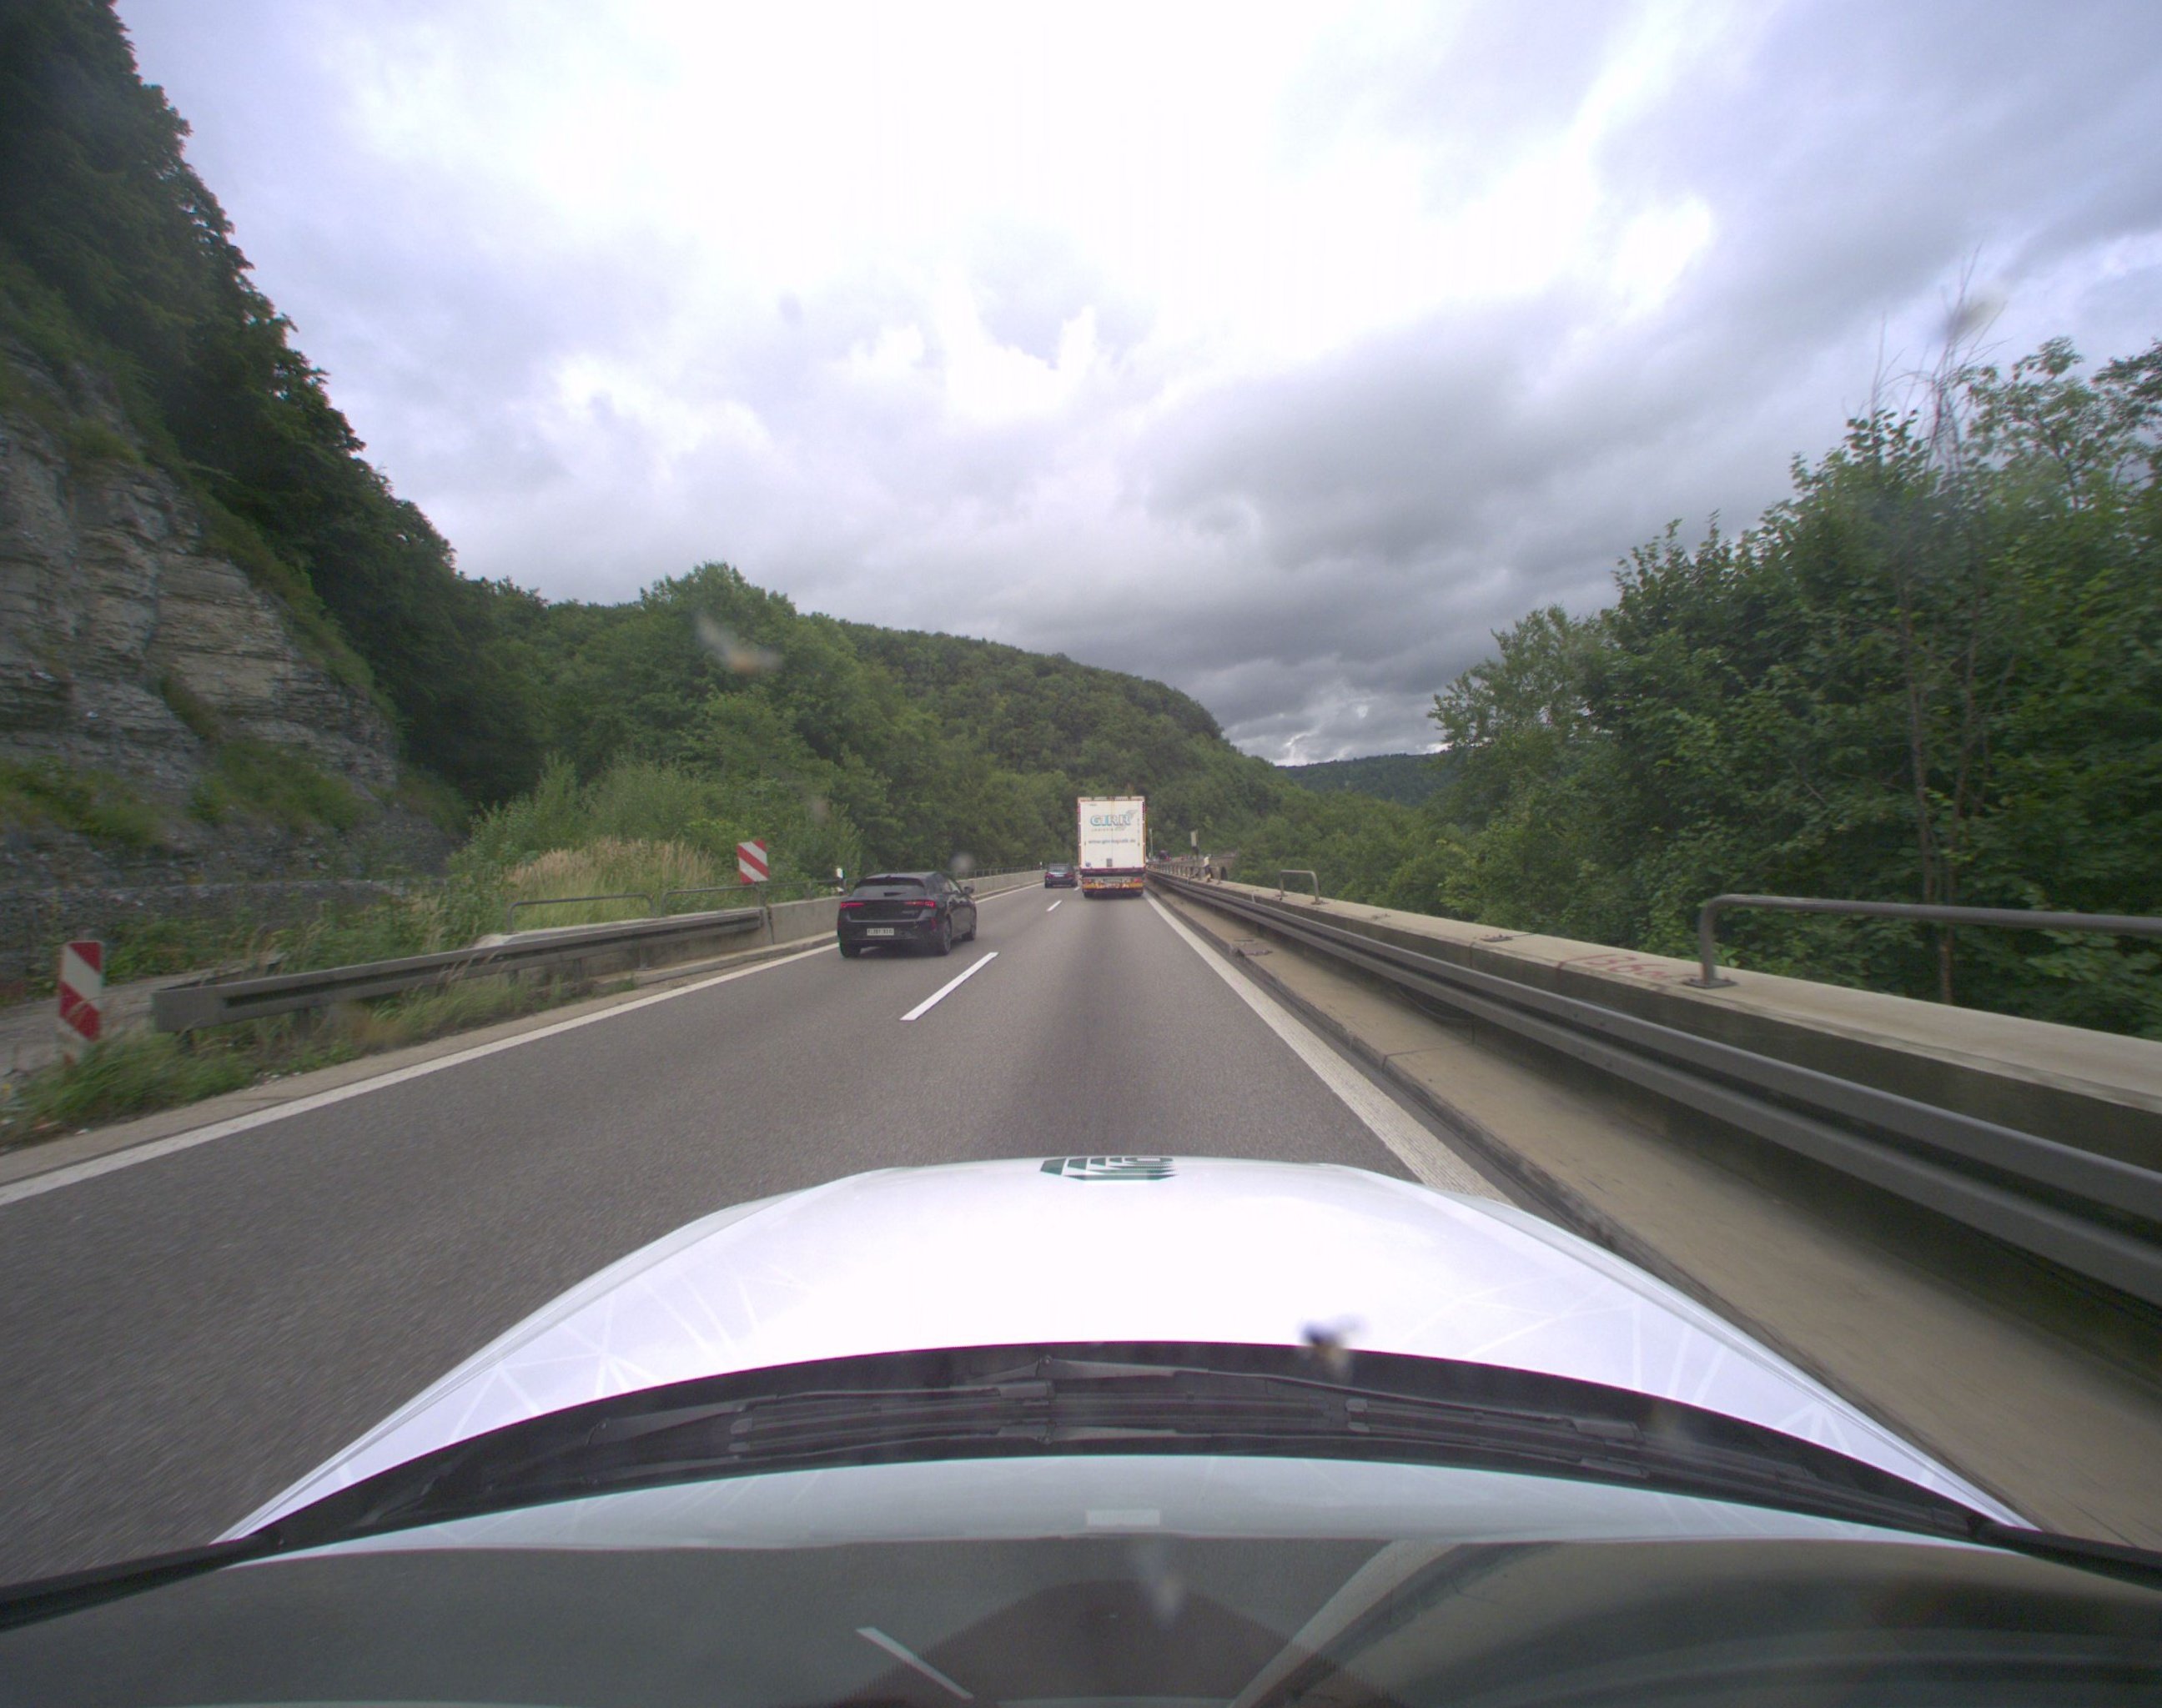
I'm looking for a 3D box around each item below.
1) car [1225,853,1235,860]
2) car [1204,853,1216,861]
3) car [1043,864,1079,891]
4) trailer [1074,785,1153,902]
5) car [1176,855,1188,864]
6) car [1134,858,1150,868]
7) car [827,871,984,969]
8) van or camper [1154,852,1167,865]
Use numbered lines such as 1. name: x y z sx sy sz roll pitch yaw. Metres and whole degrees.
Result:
1. car: 41.529 0.673 227.481 1.976 1.794 4.021 -2 -2 21
2. car: 31.567 0.689 199.191 1.976 1.794 4.020 -2 -2 21
3. car: -1.169 1.394 49.893 1.876 1.510 4.421 -2 -1 2
4. trailer: 1.421 -0.292 36.977 2.803 4.302 12.248 -2 -1 2
5. car: 21.418 1.211 172.376 1.980 1.684 4.013 -2 -2 12
6. car: 10.549 1.590 141.272 1.979 1.618 4.016 -2 -2 15
7. car: -3.041 1.086 15.114 1.767 1.461 4.582 -2 -1 1
8. van or camper: 15.983 0.938 163.953 1.979 2.560 4.014 -2 -2 13
